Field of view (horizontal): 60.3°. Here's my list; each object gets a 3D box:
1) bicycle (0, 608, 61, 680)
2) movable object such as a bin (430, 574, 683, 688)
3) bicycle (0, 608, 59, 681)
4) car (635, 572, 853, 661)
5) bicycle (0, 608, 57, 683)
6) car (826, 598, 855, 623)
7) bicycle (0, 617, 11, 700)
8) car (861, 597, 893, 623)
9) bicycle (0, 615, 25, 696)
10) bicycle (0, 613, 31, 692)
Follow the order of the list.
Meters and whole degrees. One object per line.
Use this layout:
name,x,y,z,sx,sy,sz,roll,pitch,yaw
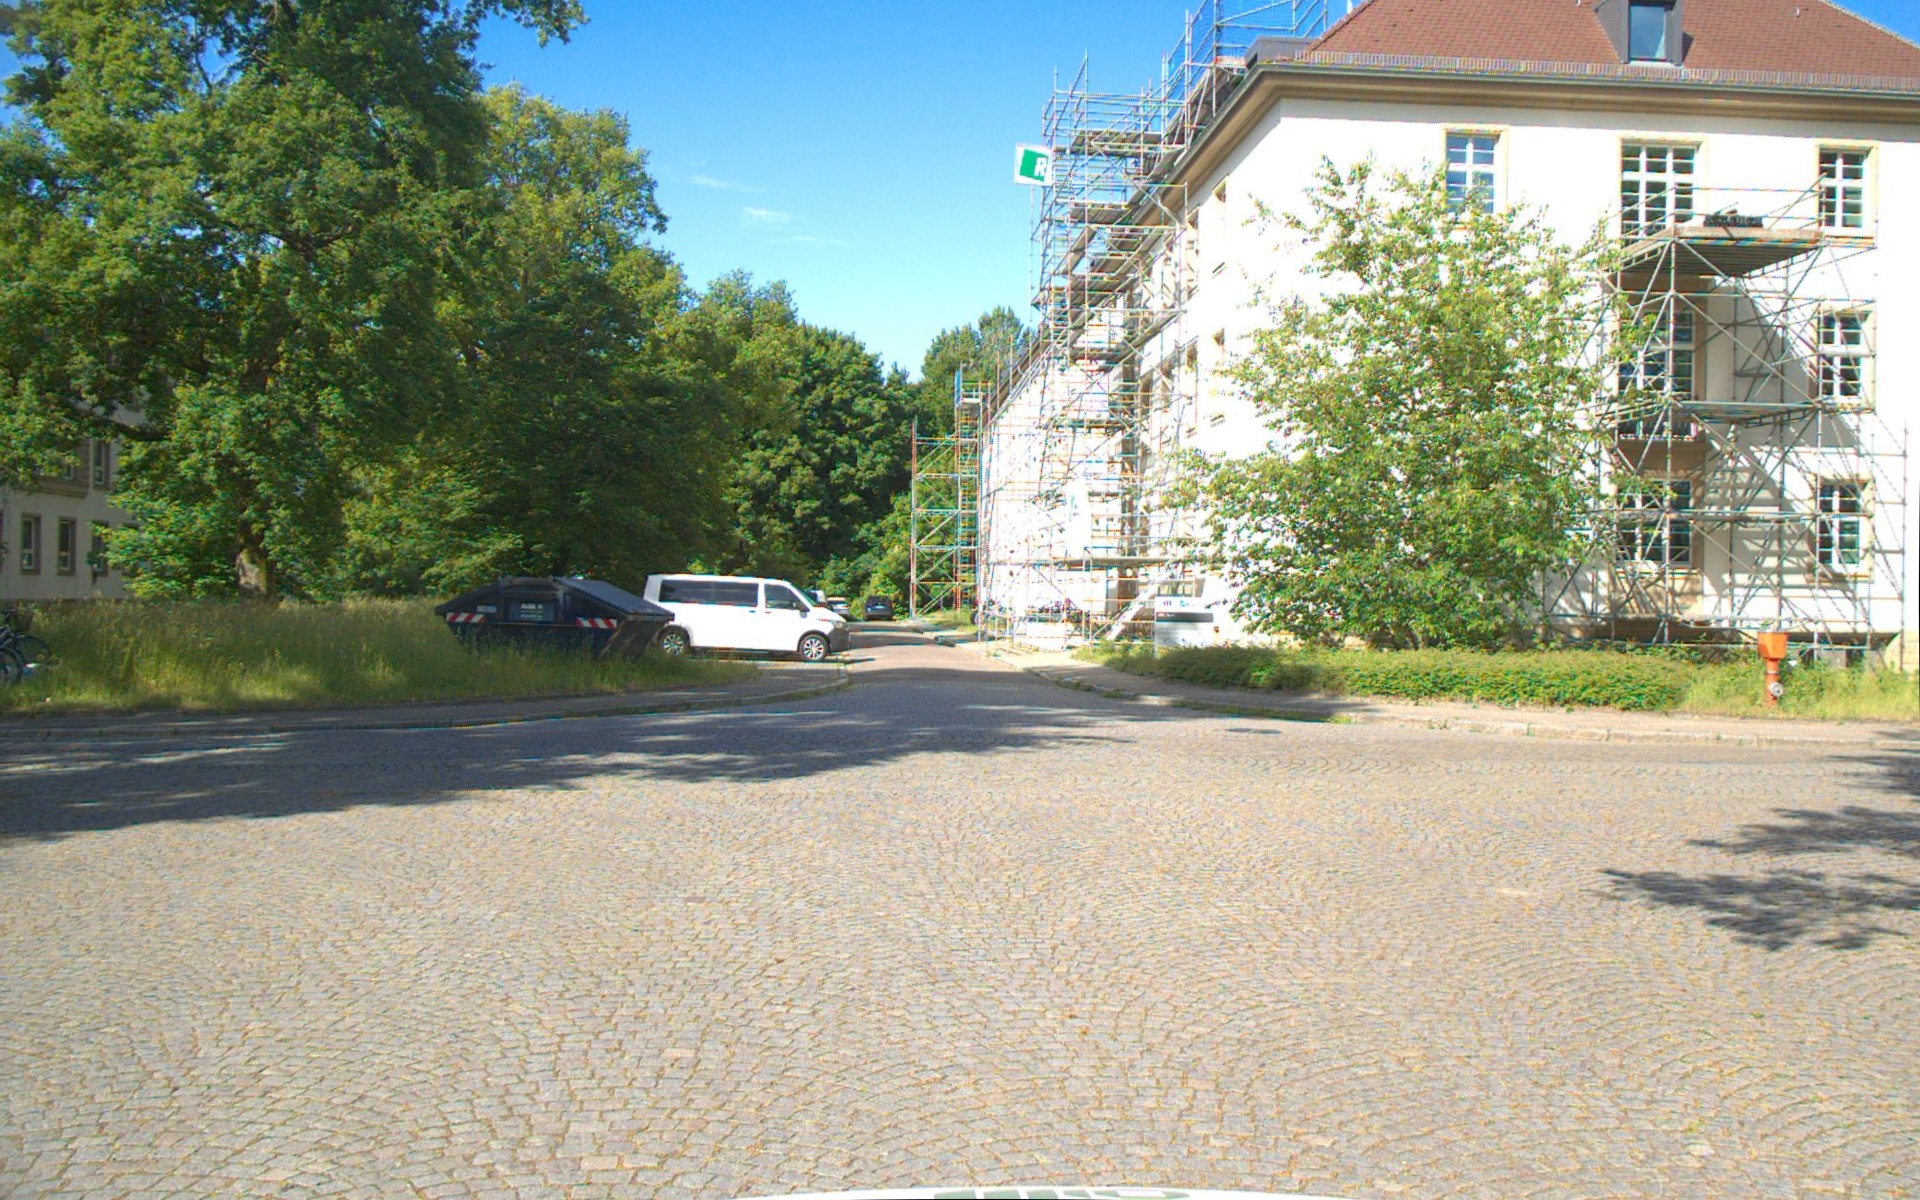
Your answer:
bicycle,-14.941,0.687,25.470,1.889,1.076,0.472,-2,1,-26
movable object such as a bin,-6.578,0.486,27.162,3.489,1.775,2.026,0,0,14
bicycle,-14.747,0.689,25.047,1.889,1.076,0.472,-2,1,-26
car,-5.221,0.399,40.415,5.133,2.051,1.948,1,0,-6
bicycle,-14.532,0.689,24.598,1.889,1.076,0.472,-2,1,-26
car,-7.710,0.674,106.395,1.777,1.607,4.130,0,0,-5
bicycle,-13.358,0.784,21.324,1.891,1.076,0.471,-2,1,-28
car,-5.385,0.635,106.900,1.932,1.697,4.082,0,0,-5
bicycle,-13.600,0.771,22.095,1.891,1.076,0.471,-2,1,-28
bicycle,-13.967,0.751,22.877,1.889,1.076,0.472,-2,1,-26
